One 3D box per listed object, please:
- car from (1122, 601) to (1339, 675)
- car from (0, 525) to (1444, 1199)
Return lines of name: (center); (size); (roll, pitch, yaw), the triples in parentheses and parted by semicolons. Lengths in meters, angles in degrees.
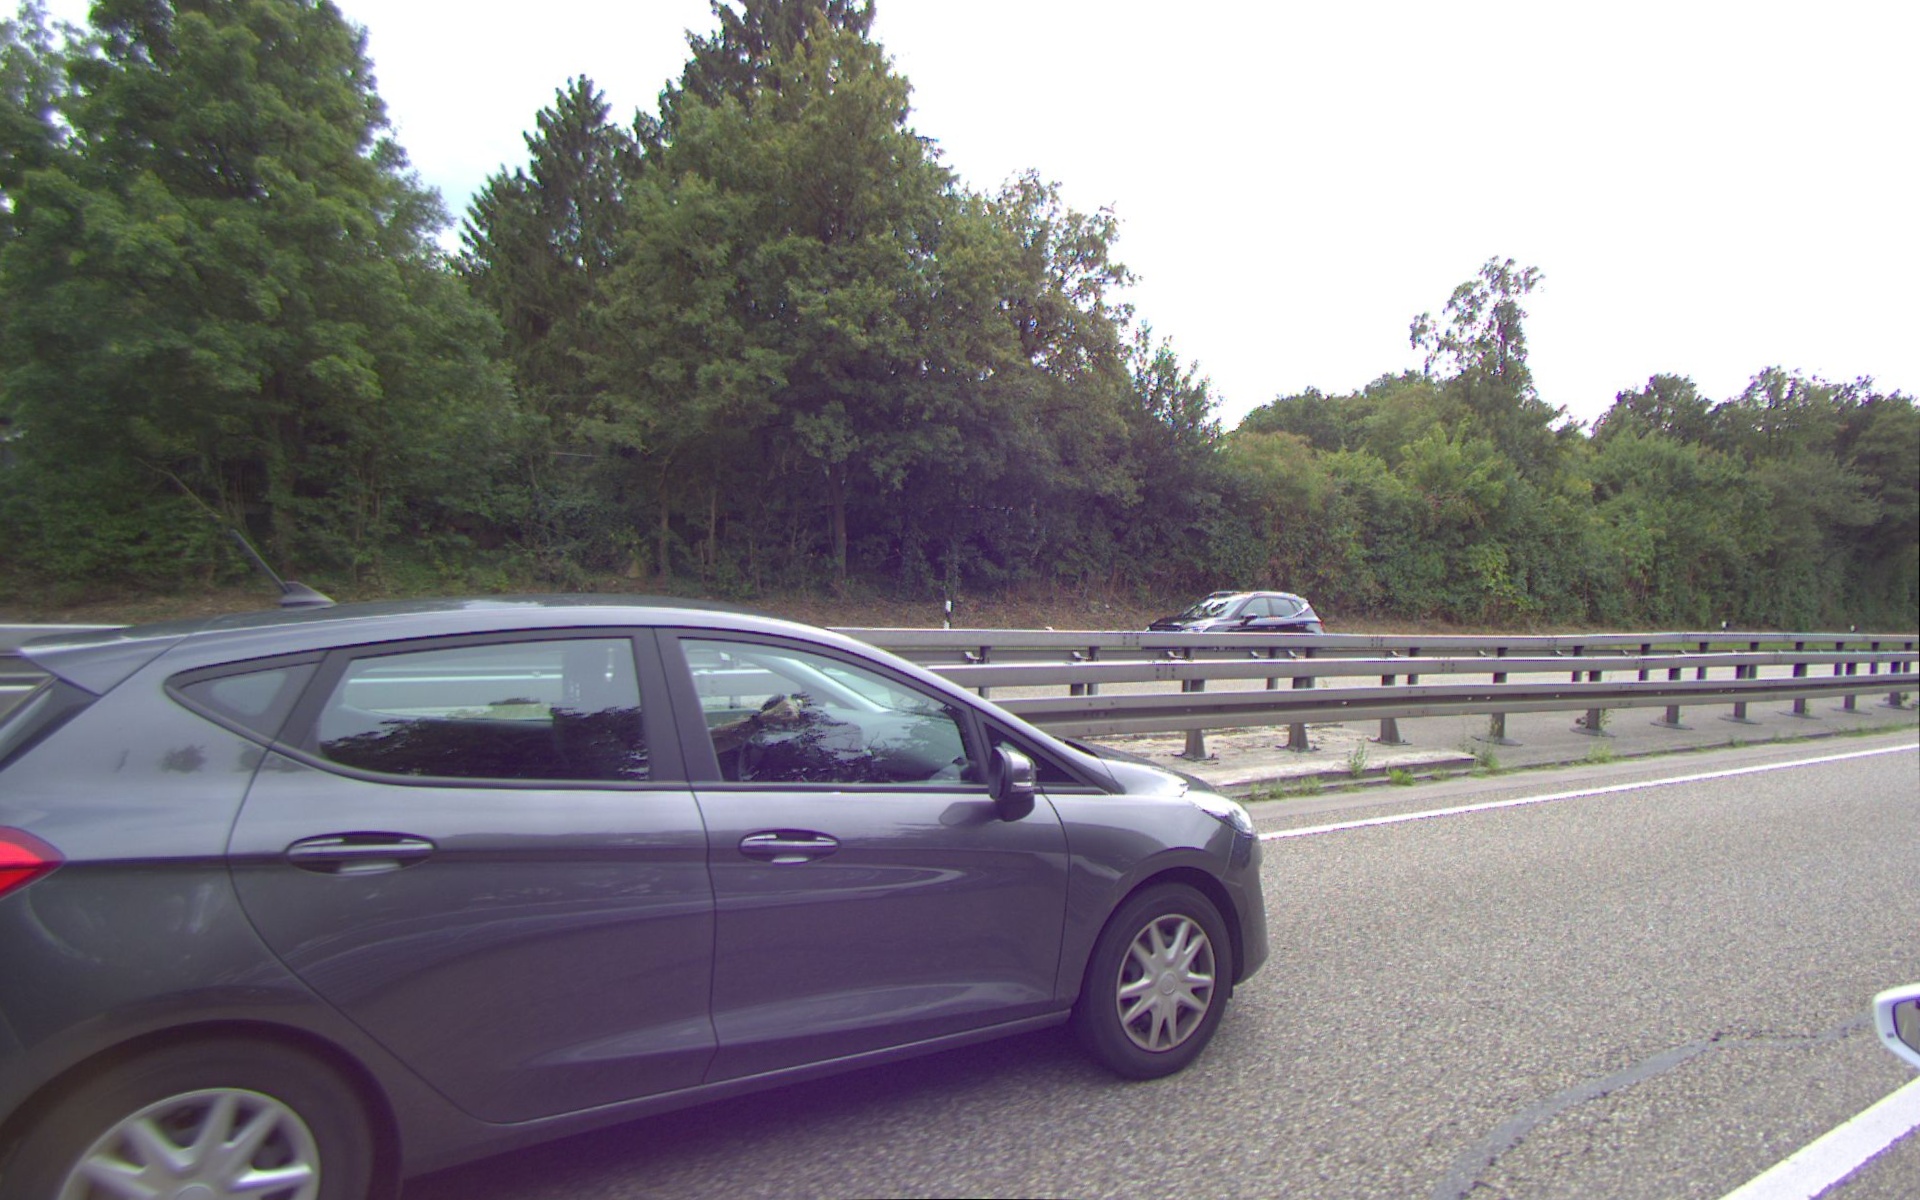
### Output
car: (5.411, 0.748, 19.989); (4.024, 1.317, 1.967); (2, -1, -32)
car: (-0.731, 0.657, 3.229); (4.583, 1.477, 1.818); (2, -1, -29)
